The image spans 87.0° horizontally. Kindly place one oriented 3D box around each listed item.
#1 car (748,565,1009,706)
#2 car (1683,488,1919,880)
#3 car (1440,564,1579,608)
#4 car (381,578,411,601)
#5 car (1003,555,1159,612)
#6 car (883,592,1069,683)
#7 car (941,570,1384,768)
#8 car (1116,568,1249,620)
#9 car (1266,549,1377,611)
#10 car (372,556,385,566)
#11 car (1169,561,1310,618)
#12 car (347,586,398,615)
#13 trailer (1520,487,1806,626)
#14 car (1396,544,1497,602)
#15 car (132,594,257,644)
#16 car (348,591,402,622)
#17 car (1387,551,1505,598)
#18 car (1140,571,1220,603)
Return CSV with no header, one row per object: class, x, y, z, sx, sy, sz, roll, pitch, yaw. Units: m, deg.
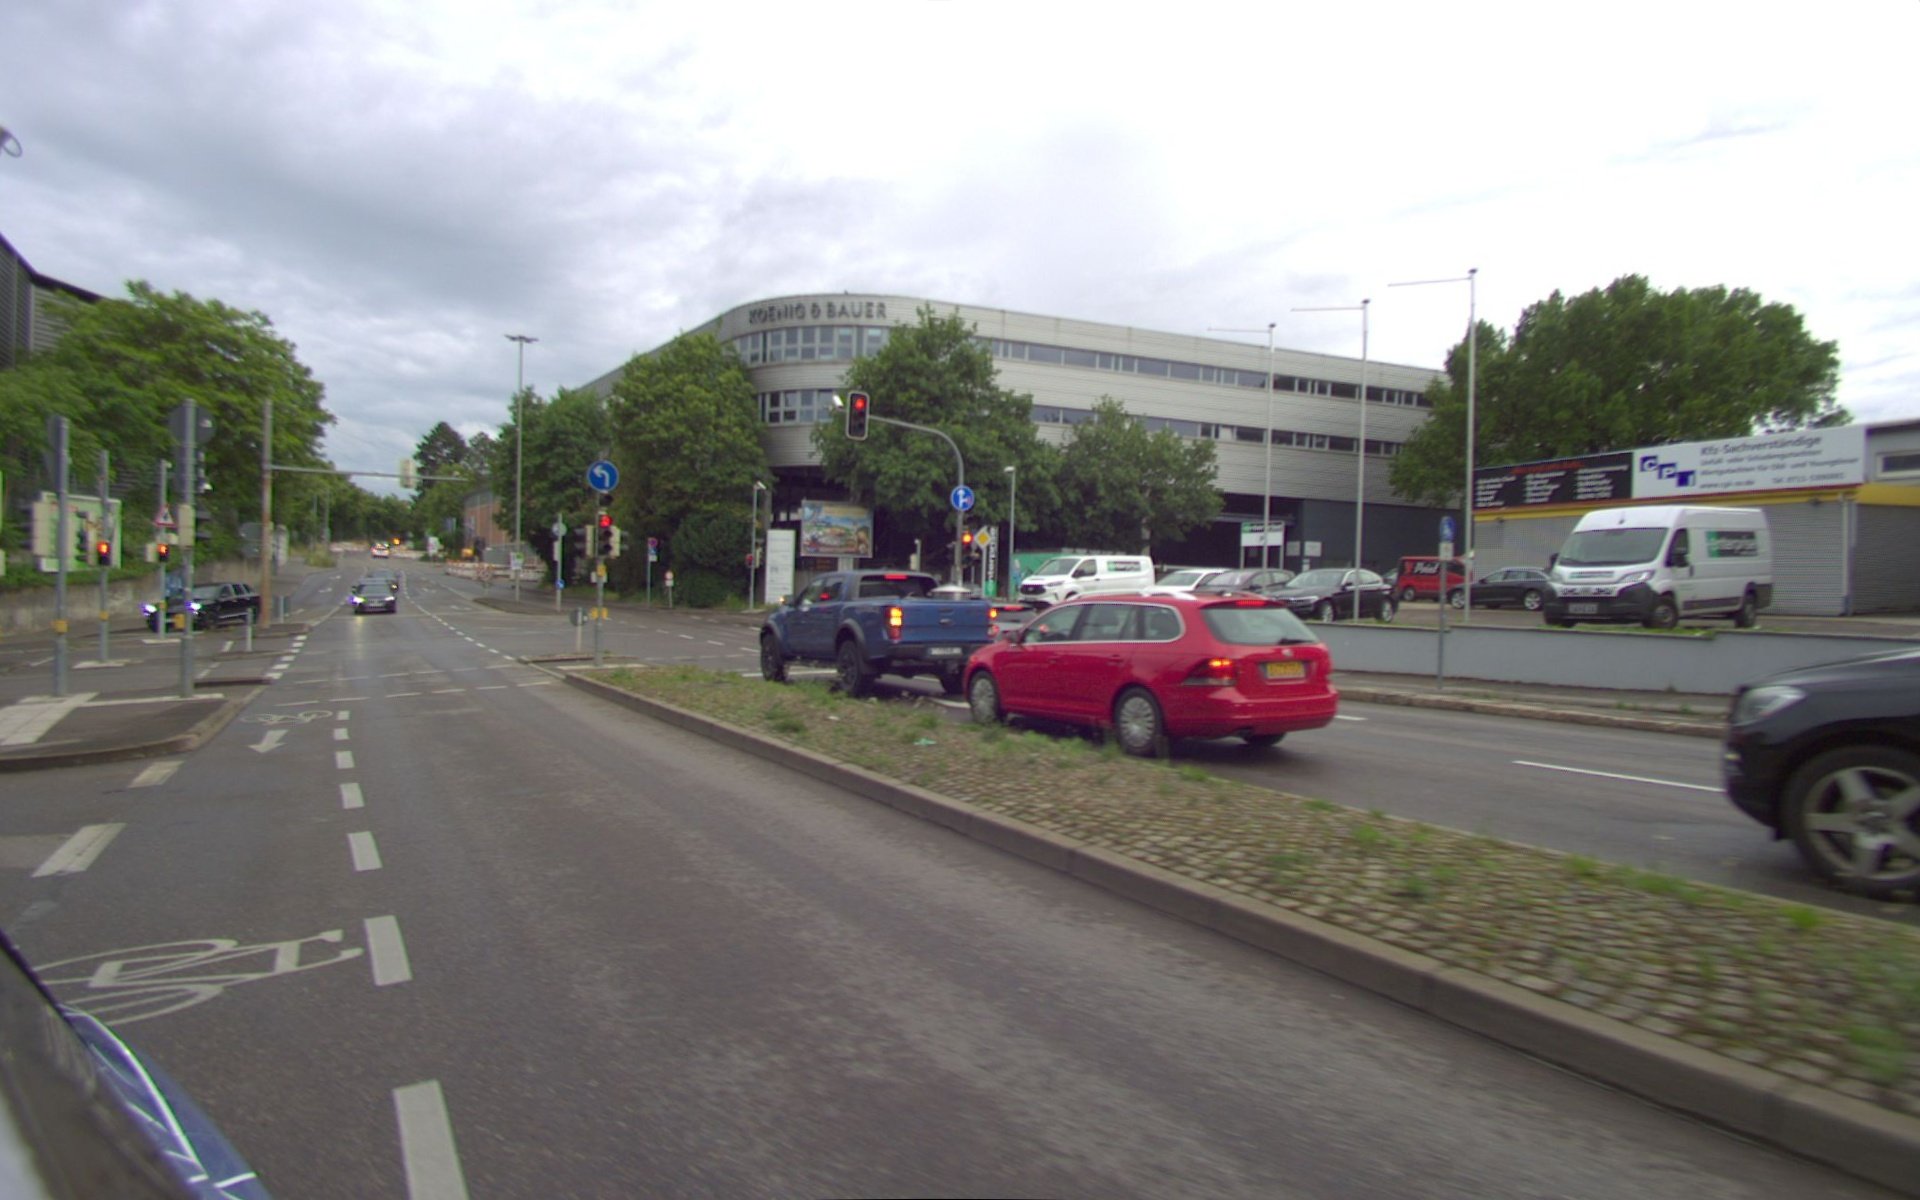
car,-1.499,0.475,15.863,1.907,1.832,5.185,1,0,-32
car,5.750,0.366,3.733,1.928,1.710,4.639,1,-1,-32
car,18.838,-0.438,34.912,1.349,1.417,4.355,1,-1,-22
car,-40.345,-0.777,72.337,1.708,1.589,3.721,1,1,-31
car,4.148,-0.532,34.264,5.287,1.815,2.224,0,1,-40
car,0.193,0.627,19.350,1.521,1.470,4.082,1,1,-33
car,1.743,0.490,10.244,1.781,1.542,4.454,1,1,-33
car,6.664,-0.203,30.255,3.562,1.379,1.878,-3,2,-33
car,8.957,-0.513,25.056,2.642,1.435,1.231,-3,2,-33
car,-82.182,-5.481,143.089,1.508,1.324,3.241,1,1,-29
car,7.568,-0.317,27.348,3.562,1.379,1.747,-3,2,-33
car,-31.545,-0.002,54.441,1.723,1.380,3.769,-3,3,-20
trailer,14.546,-0.764,20.758,7.001,2.446,2.402,1,1,-34
car,22.292,-1.226,46.497,1.625,2.516,4.000,1,1,-26
car,-28.554,0.653,37.942,1.922,1.555,4.220,-2,3,-9
car,-27.501,0.277,47.662,1.570,1.269,3.769,-3,3,-20
car,20.292,-1.062,42.444,1.710,1.874,4.325,1,1,-26
car,9.768,-0.597,45.098,1.548,1.331,3.306,1,1,-34
